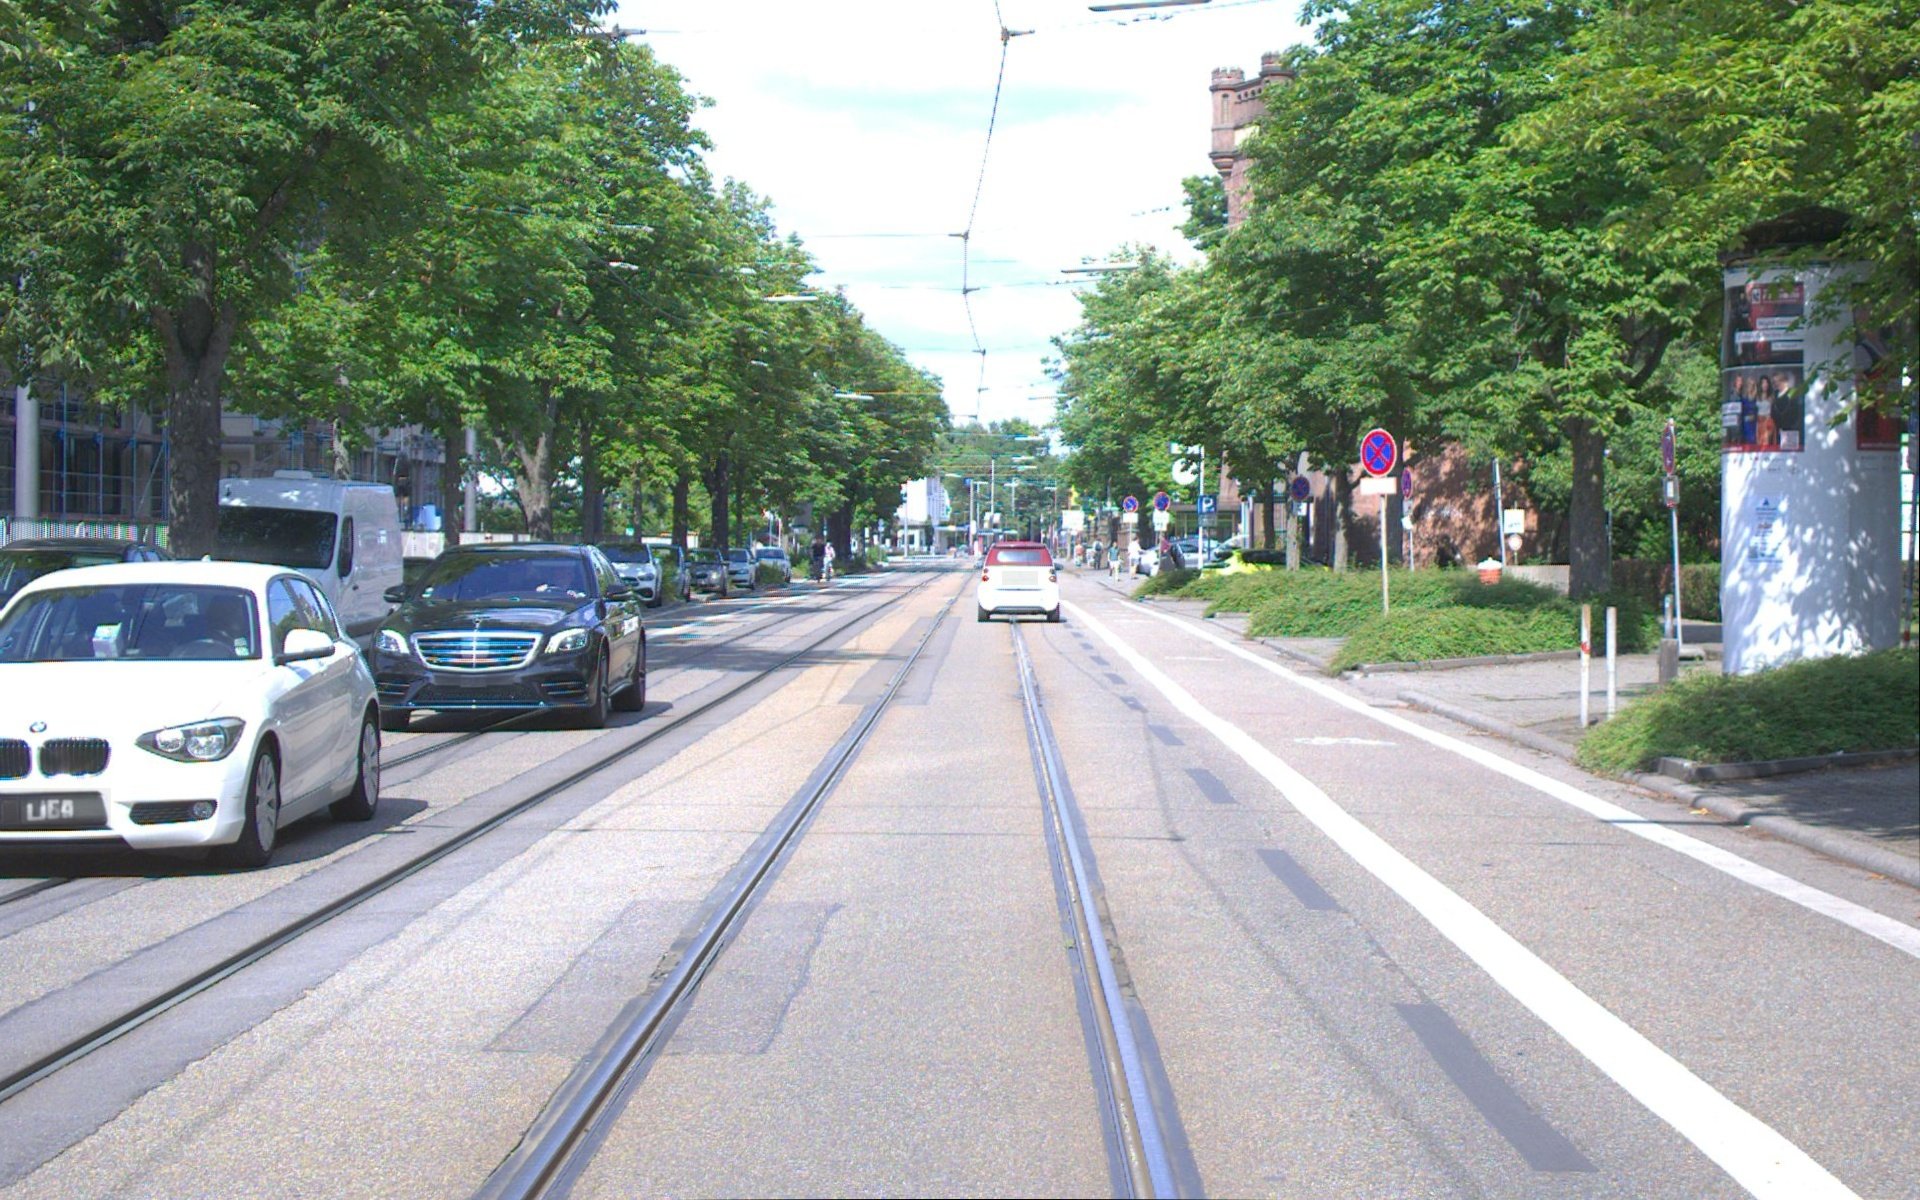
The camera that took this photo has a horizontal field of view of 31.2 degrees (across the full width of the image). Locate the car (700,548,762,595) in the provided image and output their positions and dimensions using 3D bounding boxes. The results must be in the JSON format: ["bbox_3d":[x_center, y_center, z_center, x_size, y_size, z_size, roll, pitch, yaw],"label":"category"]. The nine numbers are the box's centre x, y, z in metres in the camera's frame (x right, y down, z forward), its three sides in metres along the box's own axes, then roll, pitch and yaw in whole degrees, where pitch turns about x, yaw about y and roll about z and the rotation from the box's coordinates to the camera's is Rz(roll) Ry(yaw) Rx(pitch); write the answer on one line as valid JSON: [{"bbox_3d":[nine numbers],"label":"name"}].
[{"bbox_3d":[-7.899,-0.997,118.755,1.804,1.511,4.103,2,1,0],"label":"car"}]

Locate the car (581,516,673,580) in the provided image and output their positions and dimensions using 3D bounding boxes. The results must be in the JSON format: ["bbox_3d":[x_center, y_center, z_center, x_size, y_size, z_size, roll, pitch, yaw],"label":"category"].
[{"bbox_3d":[-8.132,-1.286,84.290,1.804,1.511,4.103,1,1,1],"label":"car"}]

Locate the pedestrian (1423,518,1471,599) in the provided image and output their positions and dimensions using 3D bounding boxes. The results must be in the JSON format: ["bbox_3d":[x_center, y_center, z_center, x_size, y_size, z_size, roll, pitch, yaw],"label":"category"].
[{"bbox_3d":[12.295,-1.048,86.860,0.977,2.007,1.093,2,1,-1],"label":"pedestrian"}]

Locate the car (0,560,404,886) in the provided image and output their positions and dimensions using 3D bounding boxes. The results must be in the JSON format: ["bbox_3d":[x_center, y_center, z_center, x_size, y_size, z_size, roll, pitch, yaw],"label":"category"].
[{"bbox_3d":[-3.987,0.519,17.111,1.686,1.401,4.227,-1,1,1],"label":"car"}]

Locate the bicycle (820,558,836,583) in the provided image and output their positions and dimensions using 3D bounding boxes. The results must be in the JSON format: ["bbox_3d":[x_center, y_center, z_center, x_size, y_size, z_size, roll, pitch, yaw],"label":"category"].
[{"bbox_3d":[-5.427,-1.220,141.401,0.618,0.970,1.717,1,1,-2],"label":"bicycle"}]

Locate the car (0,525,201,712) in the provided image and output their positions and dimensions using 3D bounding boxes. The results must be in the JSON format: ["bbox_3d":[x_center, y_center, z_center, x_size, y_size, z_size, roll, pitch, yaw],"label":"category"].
[{"bbox_3d":[-8.703,0.123,33.102,1.804,1.656,4.103,2,1,0],"label":"car"}]

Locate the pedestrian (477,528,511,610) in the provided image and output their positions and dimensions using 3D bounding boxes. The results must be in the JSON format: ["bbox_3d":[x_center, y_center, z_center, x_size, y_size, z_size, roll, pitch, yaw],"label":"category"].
[{"bbox_3d":[-11.451,-0.767,84.494,0.802,2.007,0.485,0,1,-8],"label":"pedestrian"}]

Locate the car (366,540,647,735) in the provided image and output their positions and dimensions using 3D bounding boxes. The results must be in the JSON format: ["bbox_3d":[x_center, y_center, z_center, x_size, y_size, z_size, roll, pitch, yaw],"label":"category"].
[{"bbox_3d":[-3.765,0.266,29.264,1.800,1.503,4.536,1,1,0],"label":"car"}]

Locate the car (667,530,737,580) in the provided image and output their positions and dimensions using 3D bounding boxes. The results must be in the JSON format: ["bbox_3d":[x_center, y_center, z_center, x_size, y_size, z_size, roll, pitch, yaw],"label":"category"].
[{"bbox_3d":[-7.947,-1.406,106.274,1.804,1.511,4.103,1,1,1],"label":"car"}]

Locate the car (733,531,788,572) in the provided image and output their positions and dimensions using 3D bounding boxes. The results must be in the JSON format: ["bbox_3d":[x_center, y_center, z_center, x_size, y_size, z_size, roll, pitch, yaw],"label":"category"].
[{"bbox_3d":[-7.579,-1.851,130.810,1.804,1.511,4.103,1,1,1],"label":"car"}]

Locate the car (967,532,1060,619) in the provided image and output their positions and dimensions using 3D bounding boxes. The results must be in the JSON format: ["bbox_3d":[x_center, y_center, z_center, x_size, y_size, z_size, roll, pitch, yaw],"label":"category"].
[{"bbox_3d":[1.016,-0.497,66.991,1.665,1.619,3.621,0,1,-2],"label":"car"}]

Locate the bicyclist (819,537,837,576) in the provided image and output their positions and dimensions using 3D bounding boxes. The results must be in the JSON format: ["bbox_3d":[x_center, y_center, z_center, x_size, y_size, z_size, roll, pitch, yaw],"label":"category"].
[{"bbox_3d":[-5.441,-1.778,141.553,0.658,1.574,0.946,2,1,-1],"label":"bicyclist"}]

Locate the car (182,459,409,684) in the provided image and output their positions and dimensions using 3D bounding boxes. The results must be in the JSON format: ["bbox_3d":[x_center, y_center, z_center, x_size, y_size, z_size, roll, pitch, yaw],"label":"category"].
[{"bbox_3d":[-8.368,-0.379,43.766,1.769,2.630,5.322,2,1,0],"label":"car"}]
